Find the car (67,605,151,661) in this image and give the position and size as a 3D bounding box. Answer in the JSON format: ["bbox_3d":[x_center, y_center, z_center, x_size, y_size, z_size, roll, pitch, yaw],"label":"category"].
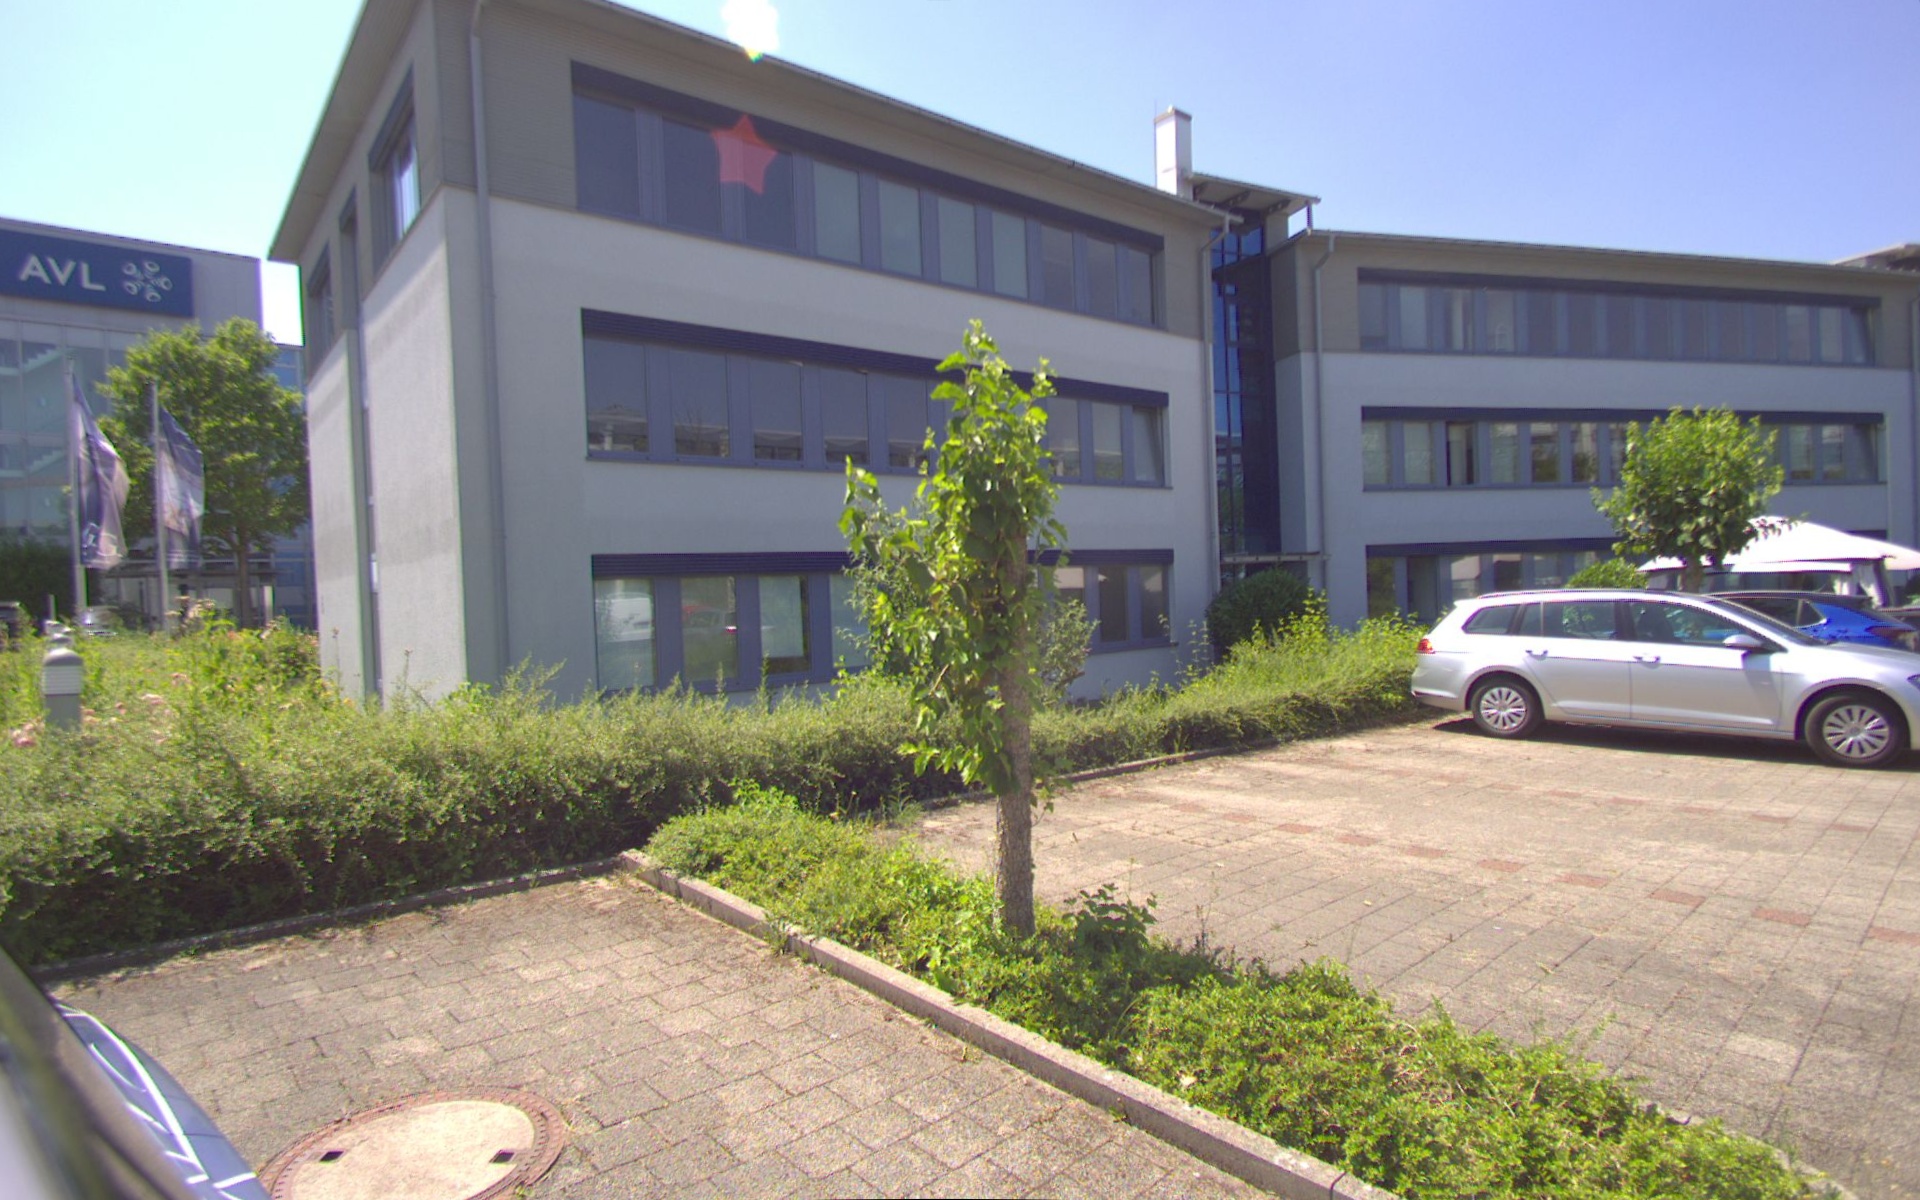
[{"bbox_3d":[-25.287,0.932,30.027,1.705,1.495,4.402,-2,1,-43],"label":"car"}]

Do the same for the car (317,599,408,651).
[{"bbox_3d":[-20.494,0.833,34.648,1.806,1.650,4.175,-1,0,-43],"label":"car"}]

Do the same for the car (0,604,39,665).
[{"bbox_3d":[-27.129,0.943,28.293,1.911,1.615,3.862,0,0,-44],"label":"car"}]

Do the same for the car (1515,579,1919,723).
[{"bbox_3d":[9.390,0.576,12.453,1.968,1.473,4.007,-1,-1,-40],"label":"car"}]

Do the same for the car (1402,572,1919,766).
[{"bbox_3d":[6.853,0.541,9.625,1.835,1.483,4.488,-1,0,-43],"label":"car"}]
